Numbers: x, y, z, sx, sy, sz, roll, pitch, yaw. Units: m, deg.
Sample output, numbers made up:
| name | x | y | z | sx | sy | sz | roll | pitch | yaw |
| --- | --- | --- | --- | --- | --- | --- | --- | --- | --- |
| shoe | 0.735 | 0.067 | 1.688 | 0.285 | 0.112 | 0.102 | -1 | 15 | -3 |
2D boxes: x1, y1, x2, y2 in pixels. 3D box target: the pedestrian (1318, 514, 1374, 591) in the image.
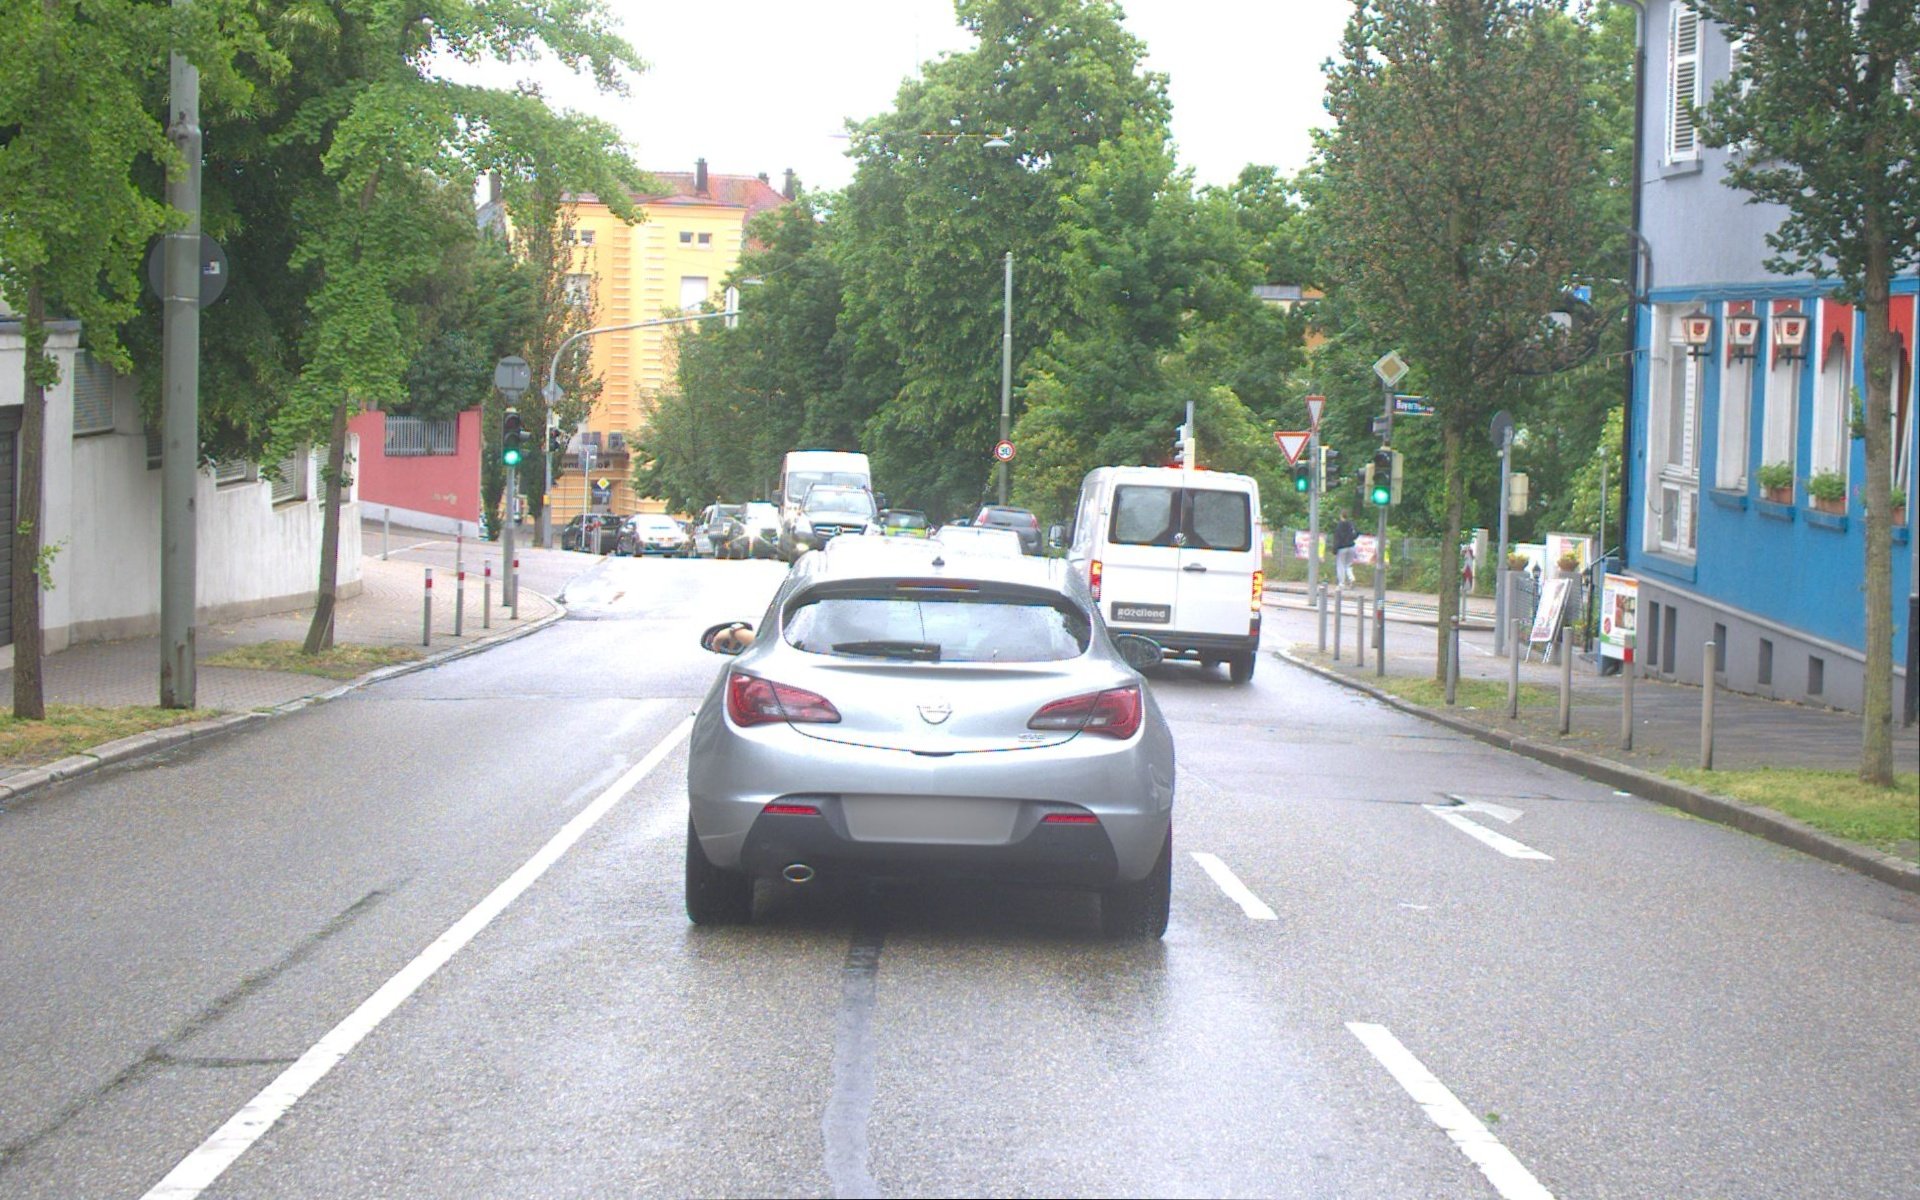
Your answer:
| name | x | y | z | sx | sy | sz | roll | pitch | yaw |
| --- | --- | --- | --- | --- | --- | --- | --- | --- | --- |
| pedestrian | 8.151 | -1.008 | 72.666 | 0.765 | 1.600 | 0.966 | -1 | 1 | -26 |

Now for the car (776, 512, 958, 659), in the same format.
| name | x | y | z | sx | sy | sz | roll | pitch | yaw |
| --- | --- | --- | --- | --- | --- | --- | --- | --- | --- |
| car | -0.965 | -0.165 | 36.246 | 1.776 | 1.425 | 3.786 | 2 | 1 | -1 |

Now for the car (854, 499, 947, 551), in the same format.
| name | x | y | z | sx | sy | sz | roll | pitch | yaw |
| --- | --- | --- | --- | --- | --- | --- | --- | --- | --- |
| car | -1.877 | -2.338 | 107.450 | 1.814 | 1.490 | 4.001 | -4 | 1 | -16 |

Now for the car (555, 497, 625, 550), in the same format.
| name | x | y | z | sx | sy | sz | roll | pitch | yaw |
| --- | --- | --- | --- | --- | --- | --- | --- | --- | --- |
| car | -14.813 | -3.034 | 137.452 | 1.993 | 2.007 | 4.001 | 2 | 0 | -17 |

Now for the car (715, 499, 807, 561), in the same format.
| name | x | y | z | sx | sy | sz | roll | pitch | yaw |
| --- | --- | --- | --- | --- | --- | --- | --- | --- | --- |
| car | -5.485 | -1.916 | 94.277 | 1.874 | 1.569 | 4.587 | 2 | 1 | -11 |

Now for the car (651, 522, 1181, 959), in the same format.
| name | x | y | z | sx | sy | sz | roll | pitch | yaw |
| --- | --- | --- | --- | --- | --- | --- | --- | --- | --- |
| car | -0.183 | 0.456 | 14.225 | 1.815 | 1.425 | 4.001 | 3 | 2 | -1 |

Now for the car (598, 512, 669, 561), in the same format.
| name | x | y | z | sx | sy | sz | roll | pitch | yaw |
| --- | --- | --- | --- | --- | --- | --- | --- | --- | --- |
| car | -10.763 | -2.068 | 112.957 | 1.773 | 1.492 | 4.264 | 3 | 0 | -12 |

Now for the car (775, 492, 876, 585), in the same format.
| name | x | y | z | sx | sy | sz | roll | pitch | yaw |
| --- | --- | --- | --- | --- | --- | --- | --- | --- | --- |
| car | -2.688 | -1.247 | 67.921 | 1.821 | 1.646 | 4.347 | 3 | 2 | -3 |

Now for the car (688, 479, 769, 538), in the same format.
| name | x | y | z | sx | sy | sz | roll | pitch | yaw |
| --- | --- | --- | --- | --- | --- | --- | --- | --- | --- |
| car | -7.843 | -3.079 | 116.259 | 1.781 | 1.848 | 4.001 | 3 | 0 | -17 |

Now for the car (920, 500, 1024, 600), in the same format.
| name | x | y | z | sx | sy | sz | roll | pitch | yaw |
| --- | --- | --- | --- | --- | --- | --- | --- | --- | --- |
| car | 0.152 | -0.762 | 51.249 | 1.383 | 1.407 | 3.457 | 1 | 1 | -2 |

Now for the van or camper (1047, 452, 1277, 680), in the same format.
| name | x | y | z | sx | sy | sz | roll | pitch | yaw |
| --- | --- | --- | --- | --- | --- | --- | --- | --- | --- |
| van or camper | 2.249 | -0.419 | 39.742 | 2.103 | 2.318 | 5.418 | 4 | 1 | -1 |

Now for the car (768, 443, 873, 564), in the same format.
| name | x | y | z | sx | sy | sz | roll | pitch | yaw |
| --- | --- | --- | --- | --- | --- | --- | --- | --- | --- |
| car | -3.173 | -2.145 | 77.339 | 2.117 | 2.537 | 5.541 | 2 | 1 | -4 |

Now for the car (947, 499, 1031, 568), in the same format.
| name | x | y | z | sx | sy | sz | roll | pitch | yaw |
| --- | --- | --- | --- | --- | --- | --- | --- | --- | --- |
| car | 0.642 | -1.492 | 78.295 | 1.620 | 1.481 | 3.436 | 2 | 0 | -3 |

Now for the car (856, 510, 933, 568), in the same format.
| name | x | y | z | sx | sy | sz | roll | pitch | yaw |
| --- | --- | --- | --- | --- | --- | --- | --- | --- | --- |
| car | -1.778 | -1.638 | 92.596 | 1.620 | 1.481 | 3.437 | 2 | 0 | -8 |
